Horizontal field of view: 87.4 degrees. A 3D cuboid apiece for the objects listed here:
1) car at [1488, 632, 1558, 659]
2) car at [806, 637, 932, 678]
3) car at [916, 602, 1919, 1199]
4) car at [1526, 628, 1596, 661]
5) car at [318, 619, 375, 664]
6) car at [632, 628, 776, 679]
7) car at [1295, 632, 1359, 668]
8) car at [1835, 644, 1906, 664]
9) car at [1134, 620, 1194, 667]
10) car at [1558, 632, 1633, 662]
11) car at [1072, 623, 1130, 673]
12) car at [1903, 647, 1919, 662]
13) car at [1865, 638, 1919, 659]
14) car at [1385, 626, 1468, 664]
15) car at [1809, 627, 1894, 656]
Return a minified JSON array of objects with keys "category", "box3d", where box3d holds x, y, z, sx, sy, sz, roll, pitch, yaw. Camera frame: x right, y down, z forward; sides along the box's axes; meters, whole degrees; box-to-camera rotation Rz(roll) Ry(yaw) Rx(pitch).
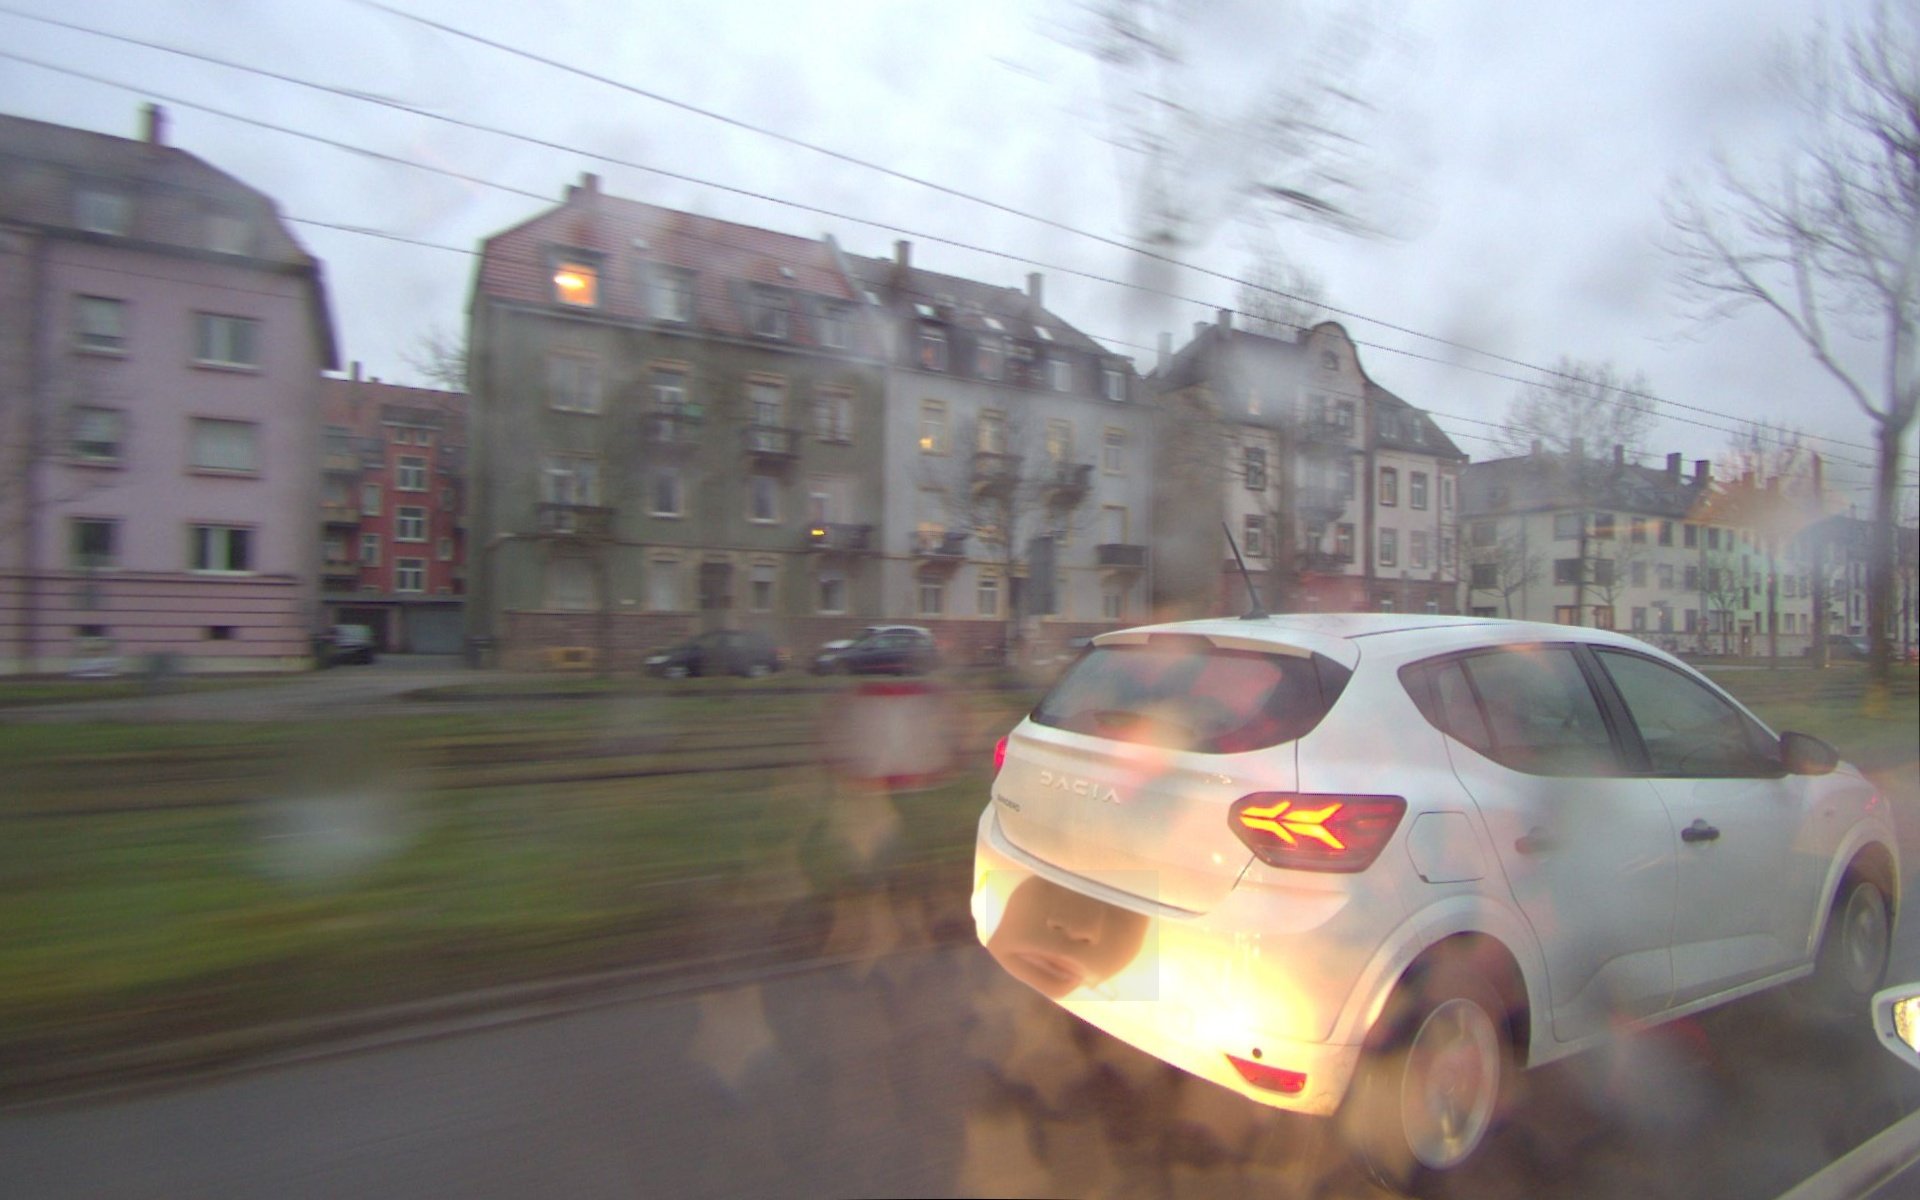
[{"category":"car","box3d":[26.190,2.101,46.828,1.759,1.003,2.920,4,1,5]},{"category":"car","box3d":[-2.864,1.823,32.022,3.860,1.184,1.222,2,0,-34]},{"category":"car","box3d":[1.975,0.819,3.894,3.955,1.494,1.680,2,0,-31]},{"category":"car","box3d":[29.243,2.135,49.009,1.321,1.246,4.046,3,1,6]},{"category":"car","box3d":[-23.338,1.567,38.289,1.591,1.564,3.340,2,0,-28]},{"category":"car","box3d":[-7.531,1.572,29.593,3.861,1.357,1.459,2,0,-28]},{"category":"car","box3d":[15.251,2.059,41.966,1.796,1.274,4.269,2,0,11]},{"category":"car","box3d":[62.331,3.685,68.822,1.702,1.156,3.573,2,0,3]},{"category":"car","box3d":[7.254,1.509,36.042,1.660,1.451,4.666,2,0,6]},{"category":"car","box3d":[32.201,2.353,51.045,1.677,1.176,4.107,4,1,9]},{"category":"car","box3d":[4.863,1.604,34.355,1.783,1.467,3.954,2,0,10]},{"category":"car","box3d":[70.394,4.001,73.051,1.408,1.062,2.393,1,0,3]},{"category":"car","box3d":[65.375,3.381,69.910,1.653,1.326,3.581,2,0,3]},{"category":"car","box3d":[20.262,1.920,43.791,1.842,1.437,3.361,3,0,-4]},{"category":"car","box3d":[59.619,2.736,67.286,1.796,1.746,4.660,2,0,4]}]
